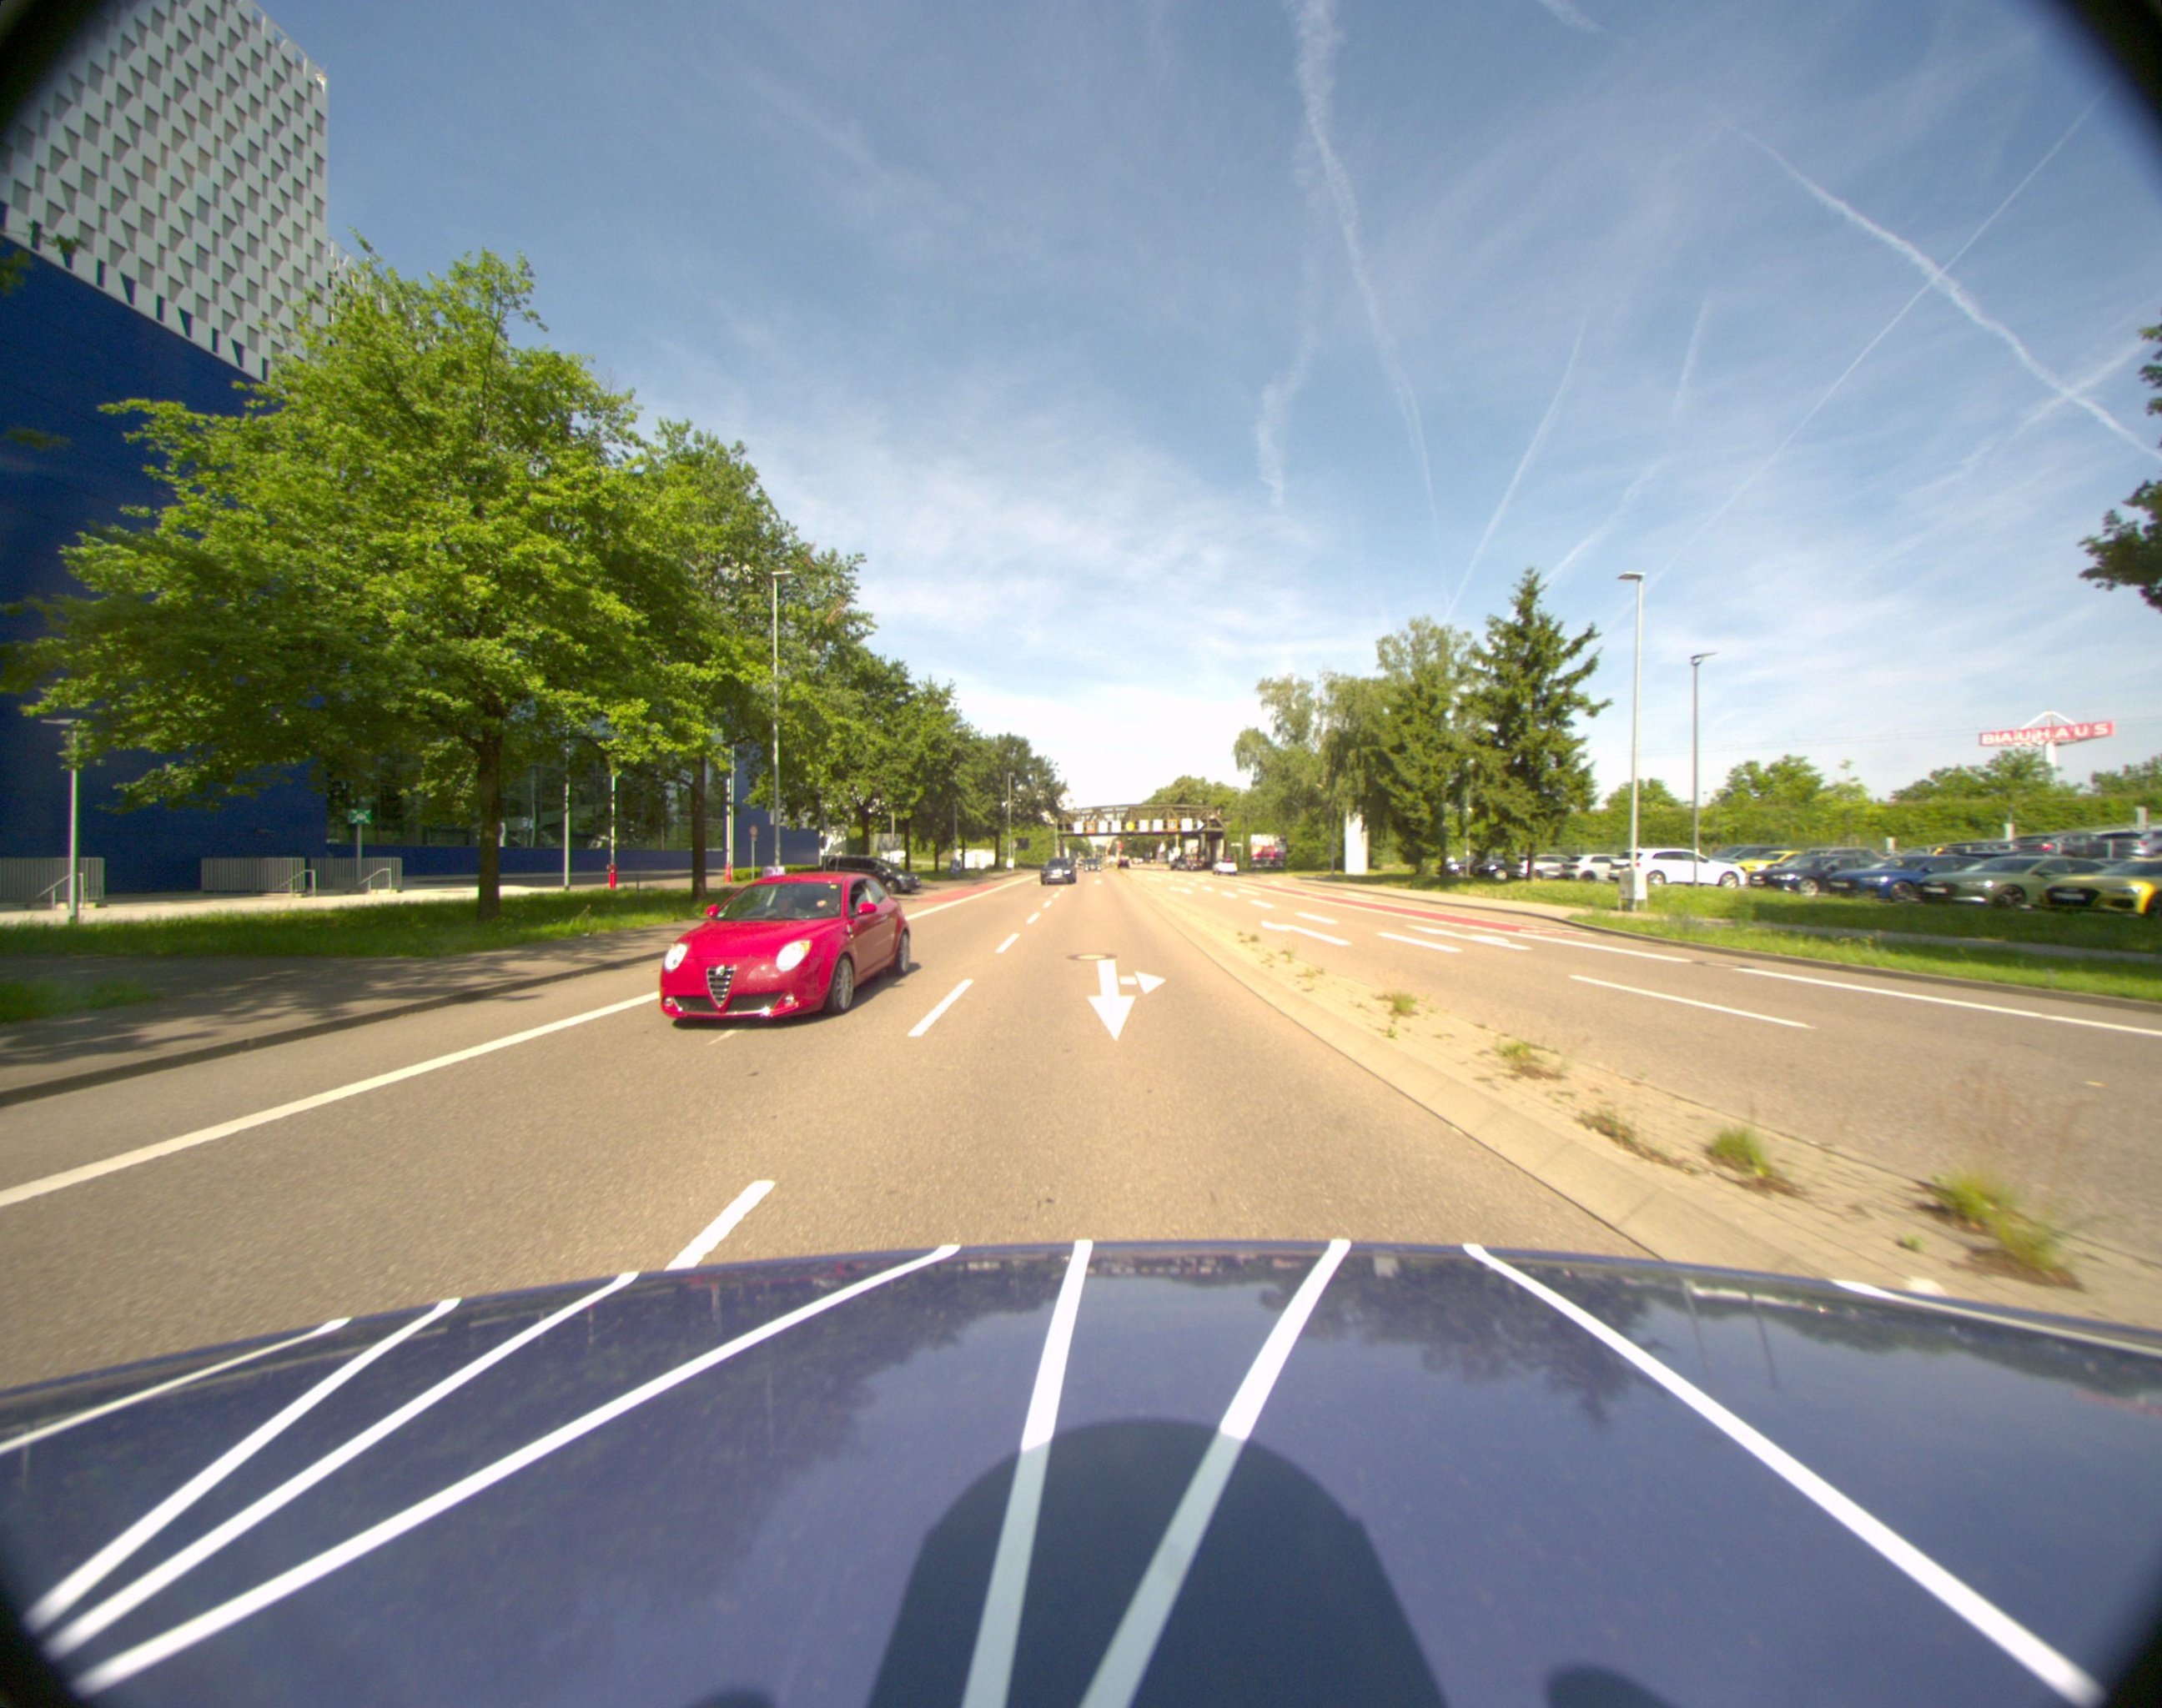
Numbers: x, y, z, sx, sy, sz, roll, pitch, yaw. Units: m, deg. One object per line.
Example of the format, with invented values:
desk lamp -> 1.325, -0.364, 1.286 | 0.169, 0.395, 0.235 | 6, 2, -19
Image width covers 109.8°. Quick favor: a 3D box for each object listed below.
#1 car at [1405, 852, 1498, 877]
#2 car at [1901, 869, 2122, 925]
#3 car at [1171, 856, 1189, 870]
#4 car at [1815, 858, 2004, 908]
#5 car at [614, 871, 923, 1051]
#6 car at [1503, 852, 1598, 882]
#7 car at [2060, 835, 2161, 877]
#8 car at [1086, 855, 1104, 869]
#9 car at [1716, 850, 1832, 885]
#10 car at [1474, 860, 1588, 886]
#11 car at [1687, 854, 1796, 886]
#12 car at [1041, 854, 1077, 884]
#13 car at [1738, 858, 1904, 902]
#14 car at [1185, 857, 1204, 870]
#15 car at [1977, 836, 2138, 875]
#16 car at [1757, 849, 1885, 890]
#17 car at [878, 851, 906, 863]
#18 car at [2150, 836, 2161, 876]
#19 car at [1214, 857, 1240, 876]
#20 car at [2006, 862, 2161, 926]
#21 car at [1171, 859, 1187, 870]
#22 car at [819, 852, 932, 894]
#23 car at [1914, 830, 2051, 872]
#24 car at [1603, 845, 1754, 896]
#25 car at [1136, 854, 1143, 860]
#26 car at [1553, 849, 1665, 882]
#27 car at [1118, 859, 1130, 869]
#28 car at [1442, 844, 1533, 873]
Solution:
car -> 22.628, 0.636, 46.508 | 4.698, 1.381, 2.000 | -1, 0, 1
car -> 24.183, 1.097, 19.844 | 3.752, 1.277, 1.663 | 2, 0, -1
car -> 14.716, 1.342, 113.274 | 1.998, 1.850, 5.451 | 2, 0, 1
car -> 24.138, 0.821, 22.233 | 3.603, 1.277, 1.744 | 2, 0, -1
car -> -3.182, 0.995, 8.717 | 1.798, 1.446, 3.979 | -1, 1, 1
car -> 23.696, 0.636, 38.450 | 3.689, 1.363, 1.816 | -1, 0, 1
car -> 40.375, 0.037, 28.755 | 4.213, 1.468, 2.000 | -1, 0, -2
car -> 1.530, 0.880, 82.749 | 1.888, 1.427, 4.000 | -1, 0, 1
car -> 34.914, 0.676, 38.361 | 3.996, 1.612, 2.000 | -1, 0, 2
car -> 23.950, 0.992, 40.546 | 4.863, 1.261, 2.000 | -1, 0, 1
car -> 35.098, 0.839, 40.441 | 4.253, 1.555, 1.805 | -1, 0, -1
car -> -1.214, 0.830, 44.427 | 1.824, 1.632, 4.113 | -1, 0, 2
car -> 24.296, 0.833, 25.052 | 3.801, 1.277, 1.744 | -1, 0, -1
car -> 14.275, 1.160, 95.633 | 1.702, 1.510, 4.027 | 2, 0, 1
car -> 40.326, 0.047, 31.447 | 4.213, 1.468, 2.000 | -1, 0, -2
car -> 34.512, 0.709, 35.517 | 3.996, 1.747, 2.000 | -1, 0, 2
car -> -27.132, 0.488, 109.004 | 4.292, 1.629, 1.860 | -1, 0, 44
car -> 40.199, 0.026, 26.047 | 4.511, 1.410, 1.891 | -1, 0, -1
car -> 13.534, 1.130, 70.655 | 1.998, 1.608, 4.105 | 1, 0, 5
car -> 24.219, 0.913, 17.370 | 3.897, 1.332, 1.840 | 2, 0, -1
car -> 13.711, 1.453, 106.337 | 1.639, 1.379, 4.318 | 1, 0, 1
car -> -9.143, 0.818, 33.956 | 4.452, 1.684, 1.845 | 1, 1, 8
car -> 40.410, -0.123, 34.119 | 3.998, 1.723, 1.999 | -1, 0, -4
car -> 23.993, 0.652, 30.651 | 4.474, 1.864, 2.000 | -1, 0, 2
car -> 17.271, 0.926, 223.887 | 1.824, 1.711, 3.636 | -1, 0, -2
car -> 25.053, 0.534, 36.173 | 3.995, 1.477, 1.848 | -1, 0, 5
car -> 6.802, 1.544, 120.445 | 1.785, 1.438, 4.120 | 1, 0, 1
car -> 23.632, 0.258, 44.299 | 4.224, 1.537, 2.000 | -1, 0, 1
